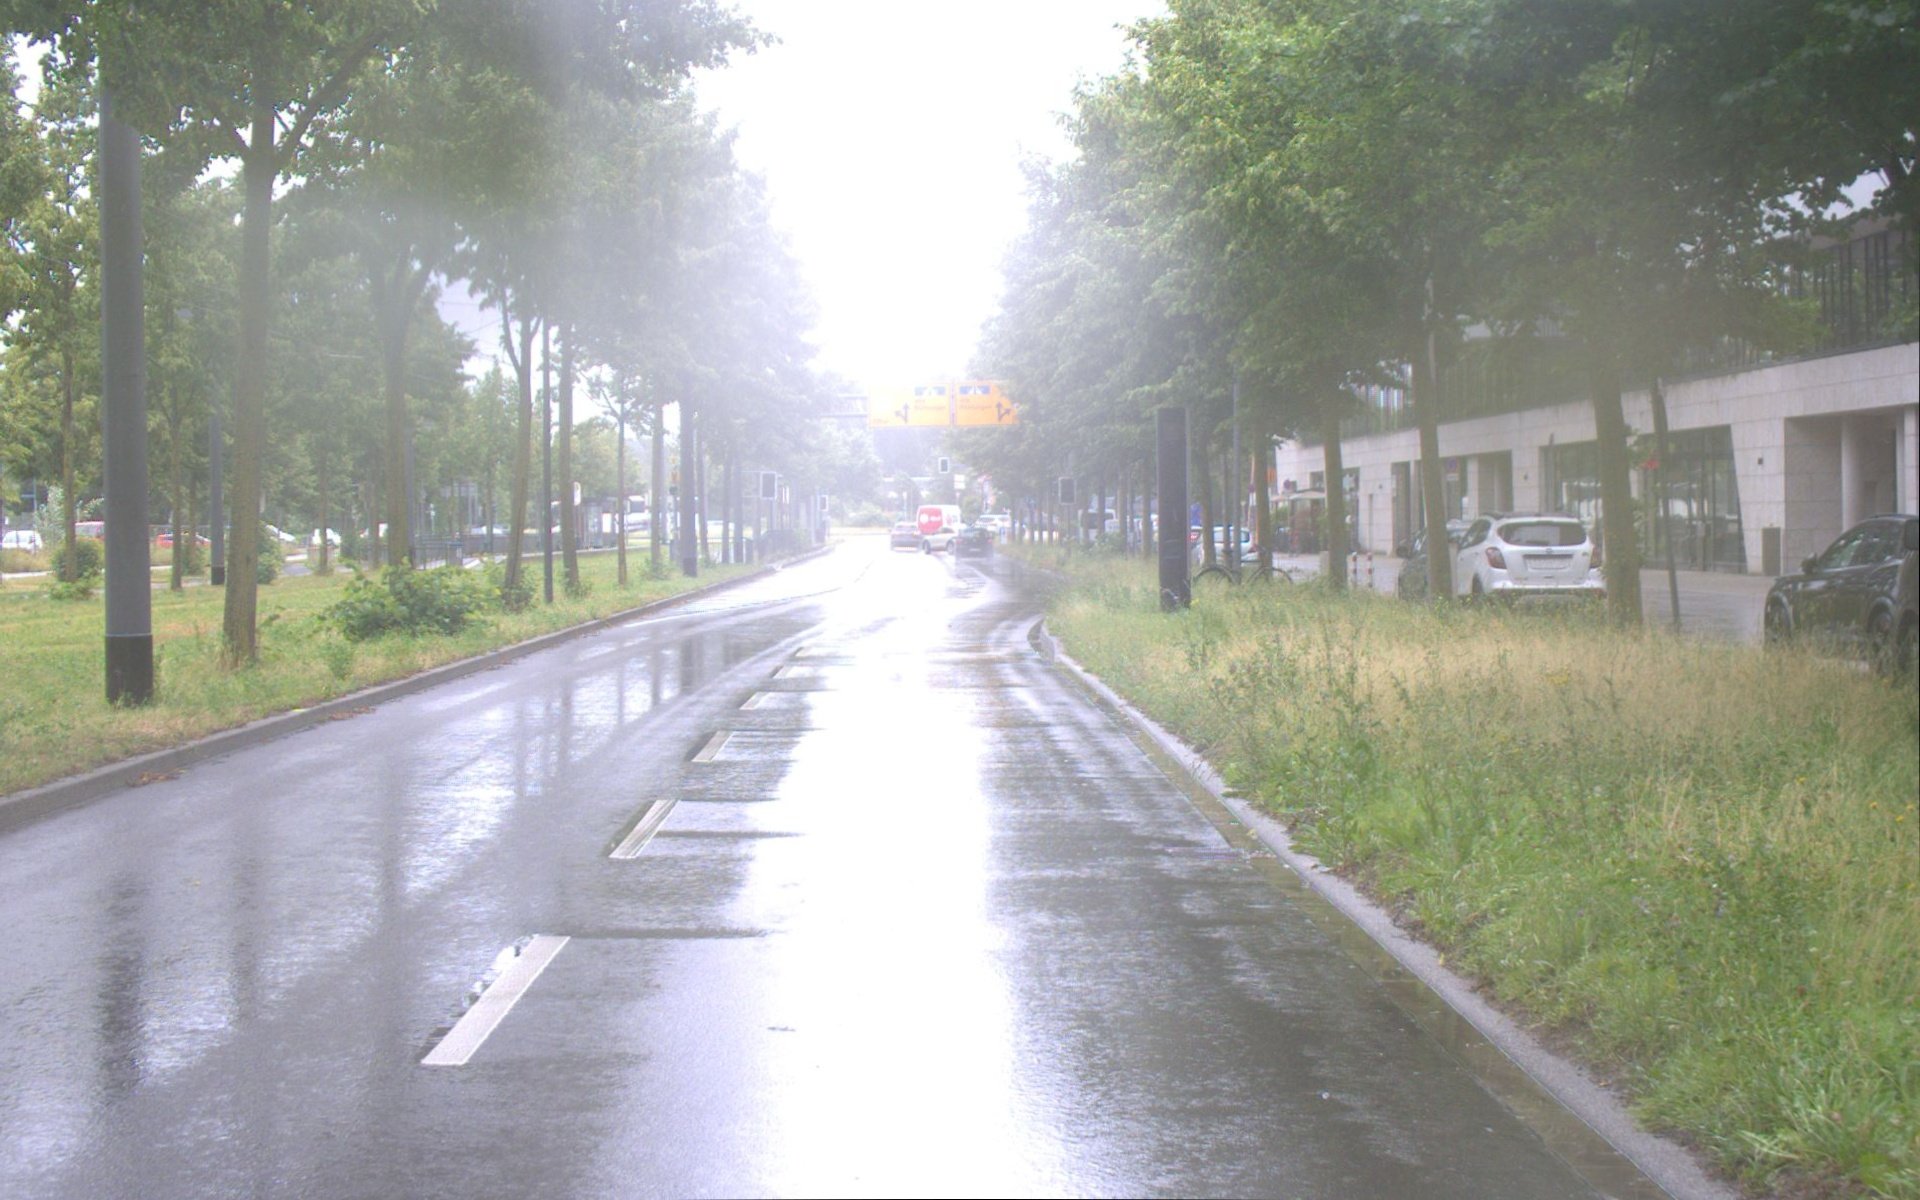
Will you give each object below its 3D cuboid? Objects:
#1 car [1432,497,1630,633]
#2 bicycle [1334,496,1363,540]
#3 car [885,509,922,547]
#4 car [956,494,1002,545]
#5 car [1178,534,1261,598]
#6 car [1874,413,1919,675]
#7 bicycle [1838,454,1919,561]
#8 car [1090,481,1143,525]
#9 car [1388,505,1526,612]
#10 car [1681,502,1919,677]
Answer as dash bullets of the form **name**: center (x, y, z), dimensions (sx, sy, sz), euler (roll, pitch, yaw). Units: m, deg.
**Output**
- **car**: center (8.082, -0.548, 49.042), dimensions (1.993, 1.663, 4.725), euler (-1, 4, -1)
- **bicycle**: center (16.300, -3.446, 144.321), dimensions (0.772, 1.716, 3.121), euler (-1, 4, -1)
- **car**: center (-3.286, -4.251, 201.631), dimensions (1.993, 2.006, 4.001), euler (-1, 4, 2)
- **car**: center (0.823, -3.527, 149.771), dimensions (1.940, 2.006, 4.001), euler (-1, 4, 0)
- **car**: center (7.148, -0.965, 95.182), dimensions (1.881, 1.500, 4.725), euler (-1, 4, -1)
- **car**: center (8.204, -0.342, 24.486), dimensions (1.993, 1.945, 5.030), euler (-1, 4, -1)
- **bicycle**: center (16.921, -1.642, 60.646), dimensions (2.680, 1.854, 0.707), euler (-1, 2, 4)
- **car**: center (6.528, -4.056, 143.952), dimensions (1.906, 1.785, 4.689), euler (-1, 2, -1)
- **car**: center (7.838, -0.681, 54.492), dimensions (1.625, 1.485, 3.656), euler (-1, 4, 0)
- **car**: center (8.471, -0.153, 32.317), dimensions (1.956, 1.507, 4.483), euler (-1, 2, -7)
